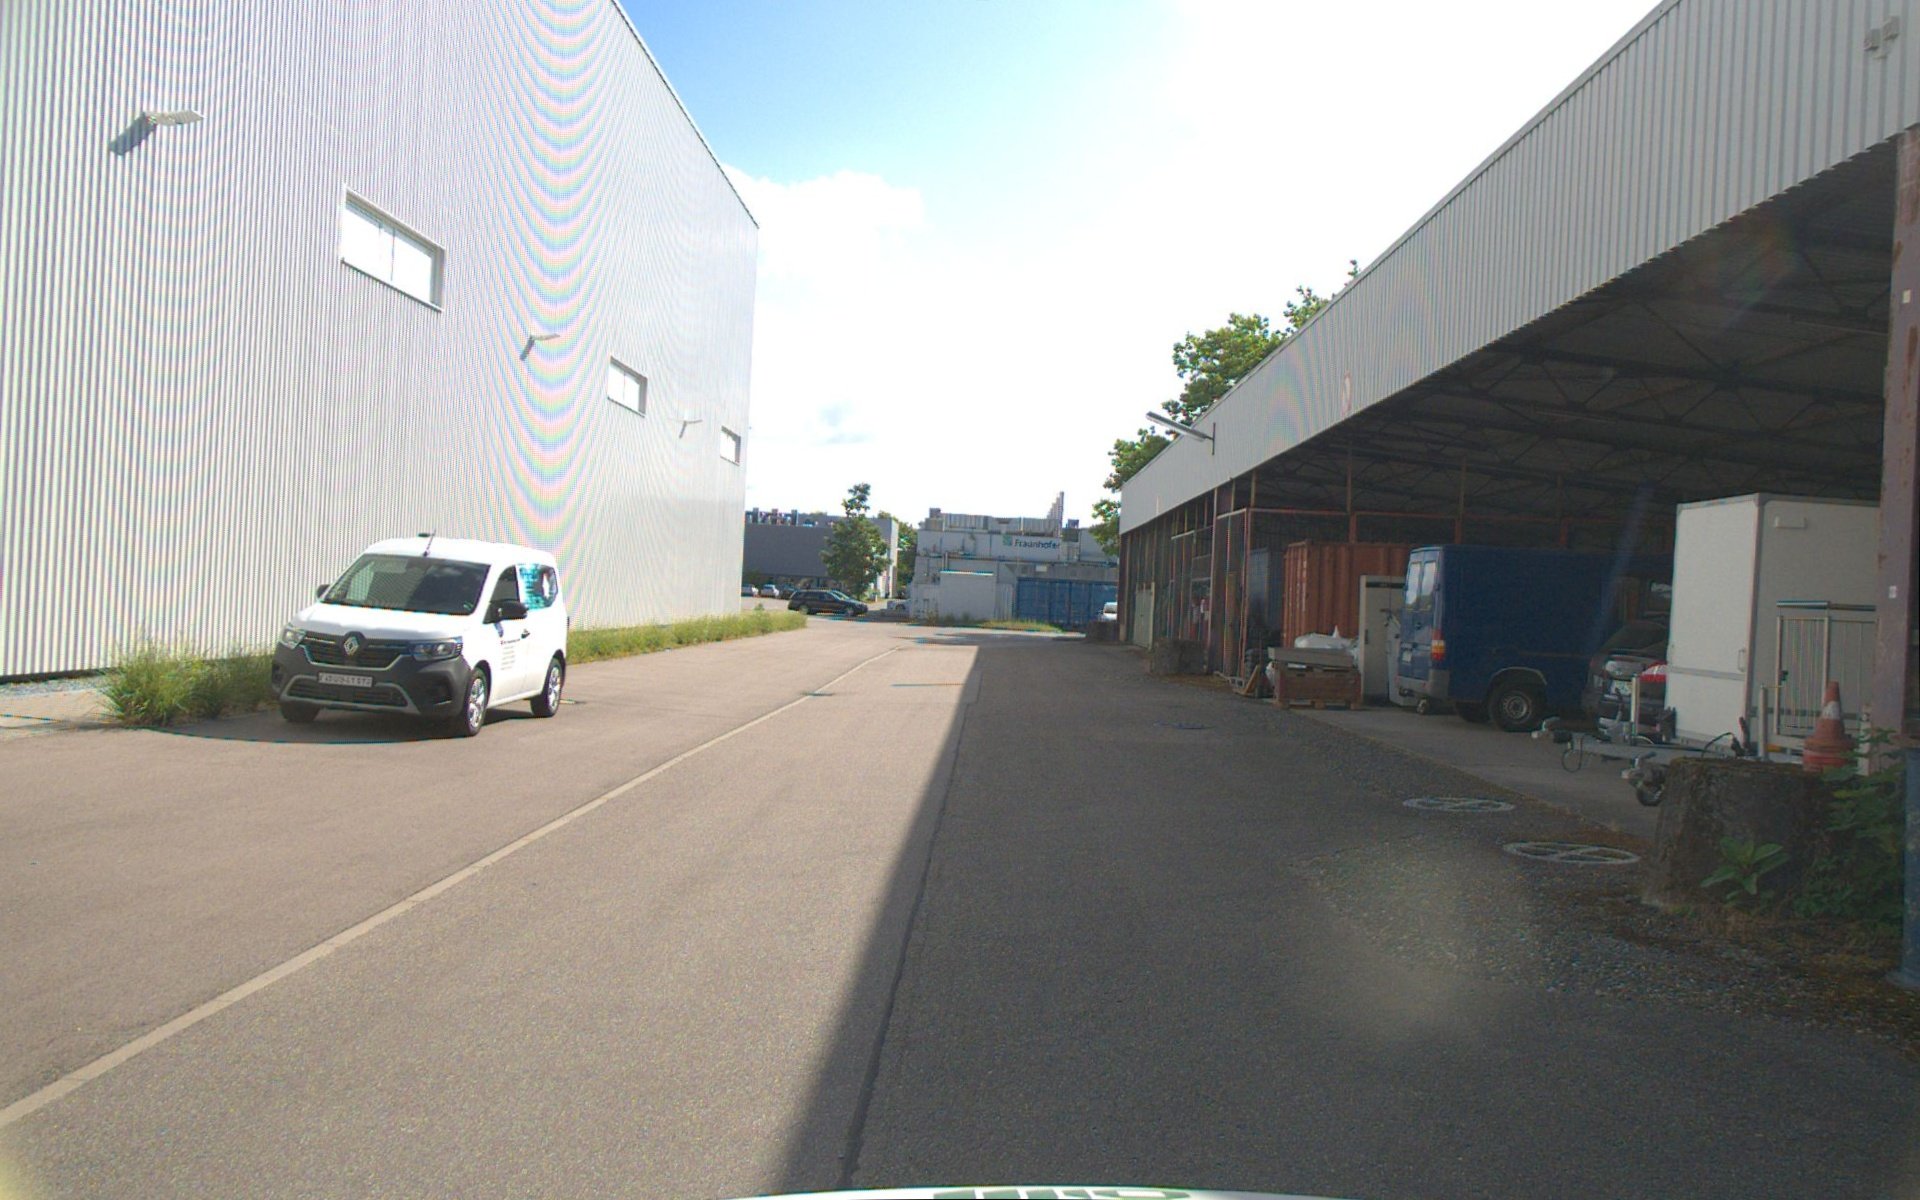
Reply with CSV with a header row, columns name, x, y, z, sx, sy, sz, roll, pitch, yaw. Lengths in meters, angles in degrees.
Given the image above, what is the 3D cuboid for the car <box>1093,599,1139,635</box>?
name,x,y,z,sx,sy,sz,roll,pitch,yaw
car,8.059,0.842,85.834,1.953,1.613,4.173,2,2,0

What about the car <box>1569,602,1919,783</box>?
name,x,y,z,sx,sy,sz,roll,pitch,yaw
car,8.184,0.851,15.536,4.241,1.522,1.777,2,0,-2

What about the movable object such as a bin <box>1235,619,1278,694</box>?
name,x,y,z,sx,sy,sz,roll,pitch,yaw
movable object such as a bin,4.892,0.925,27.349,0.569,1.185,1.239,2,0,5

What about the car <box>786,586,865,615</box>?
name,x,y,z,sx,sy,sz,roll,pitch,yaw
car,-8.012,0.038,98.780,4.432,1.534,1.909,2,0,3

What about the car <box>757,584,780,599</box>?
name,x,y,z,sx,sy,sz,roll,pitch,yaw
car,-22.683,-0.997,196.101,2.148,1.766,4.000,1,0,0

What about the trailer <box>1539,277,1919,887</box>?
name,x,y,z,sx,sy,sz,roll,pitch,yaw
trailer,9.070,0.036,10.341,9.831,3.272,2.854,2,0,1

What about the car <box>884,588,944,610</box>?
name,x,y,z,sx,sy,sz,roll,pitch,yaw
car,-3.473,-0.084,126.331,4.432,1.534,1.909,2,0,2

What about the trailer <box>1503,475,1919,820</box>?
name,x,y,z,sx,sy,sz,roll,pitch,yaw
trailer,6.895,0.373,12.909,4.711,2.433,1.828,2,0,6

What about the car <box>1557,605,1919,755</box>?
name,x,y,z,sx,sy,sz,roll,pitch,yaw
car,9.033,0.881,18.656,3.908,1.498,1.787,2,0,-4

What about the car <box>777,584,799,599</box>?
name,x,y,z,sx,sy,sz,roll,pitch,yaw
car,-20.207,-0.998,194.362,2.148,1.766,4.000,1,0,0

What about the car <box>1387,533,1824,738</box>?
name,x,y,z,sx,sy,sz,roll,pitch,yaw
car,8.308,0.437,21.630,4.876,2.366,2.000,2,0,1

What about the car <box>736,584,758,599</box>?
name,x,y,z,sx,sy,sz,roll,pitch,yaw
car,-25.221,-1.008,195.787,1.952,1.766,4.000,1,0,0

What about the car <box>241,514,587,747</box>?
name,x,y,z,sx,sy,sz,roll,pitch,yaw
car,-5.234,0.260,16.553,1.852,1.877,4.358,5,0,0
